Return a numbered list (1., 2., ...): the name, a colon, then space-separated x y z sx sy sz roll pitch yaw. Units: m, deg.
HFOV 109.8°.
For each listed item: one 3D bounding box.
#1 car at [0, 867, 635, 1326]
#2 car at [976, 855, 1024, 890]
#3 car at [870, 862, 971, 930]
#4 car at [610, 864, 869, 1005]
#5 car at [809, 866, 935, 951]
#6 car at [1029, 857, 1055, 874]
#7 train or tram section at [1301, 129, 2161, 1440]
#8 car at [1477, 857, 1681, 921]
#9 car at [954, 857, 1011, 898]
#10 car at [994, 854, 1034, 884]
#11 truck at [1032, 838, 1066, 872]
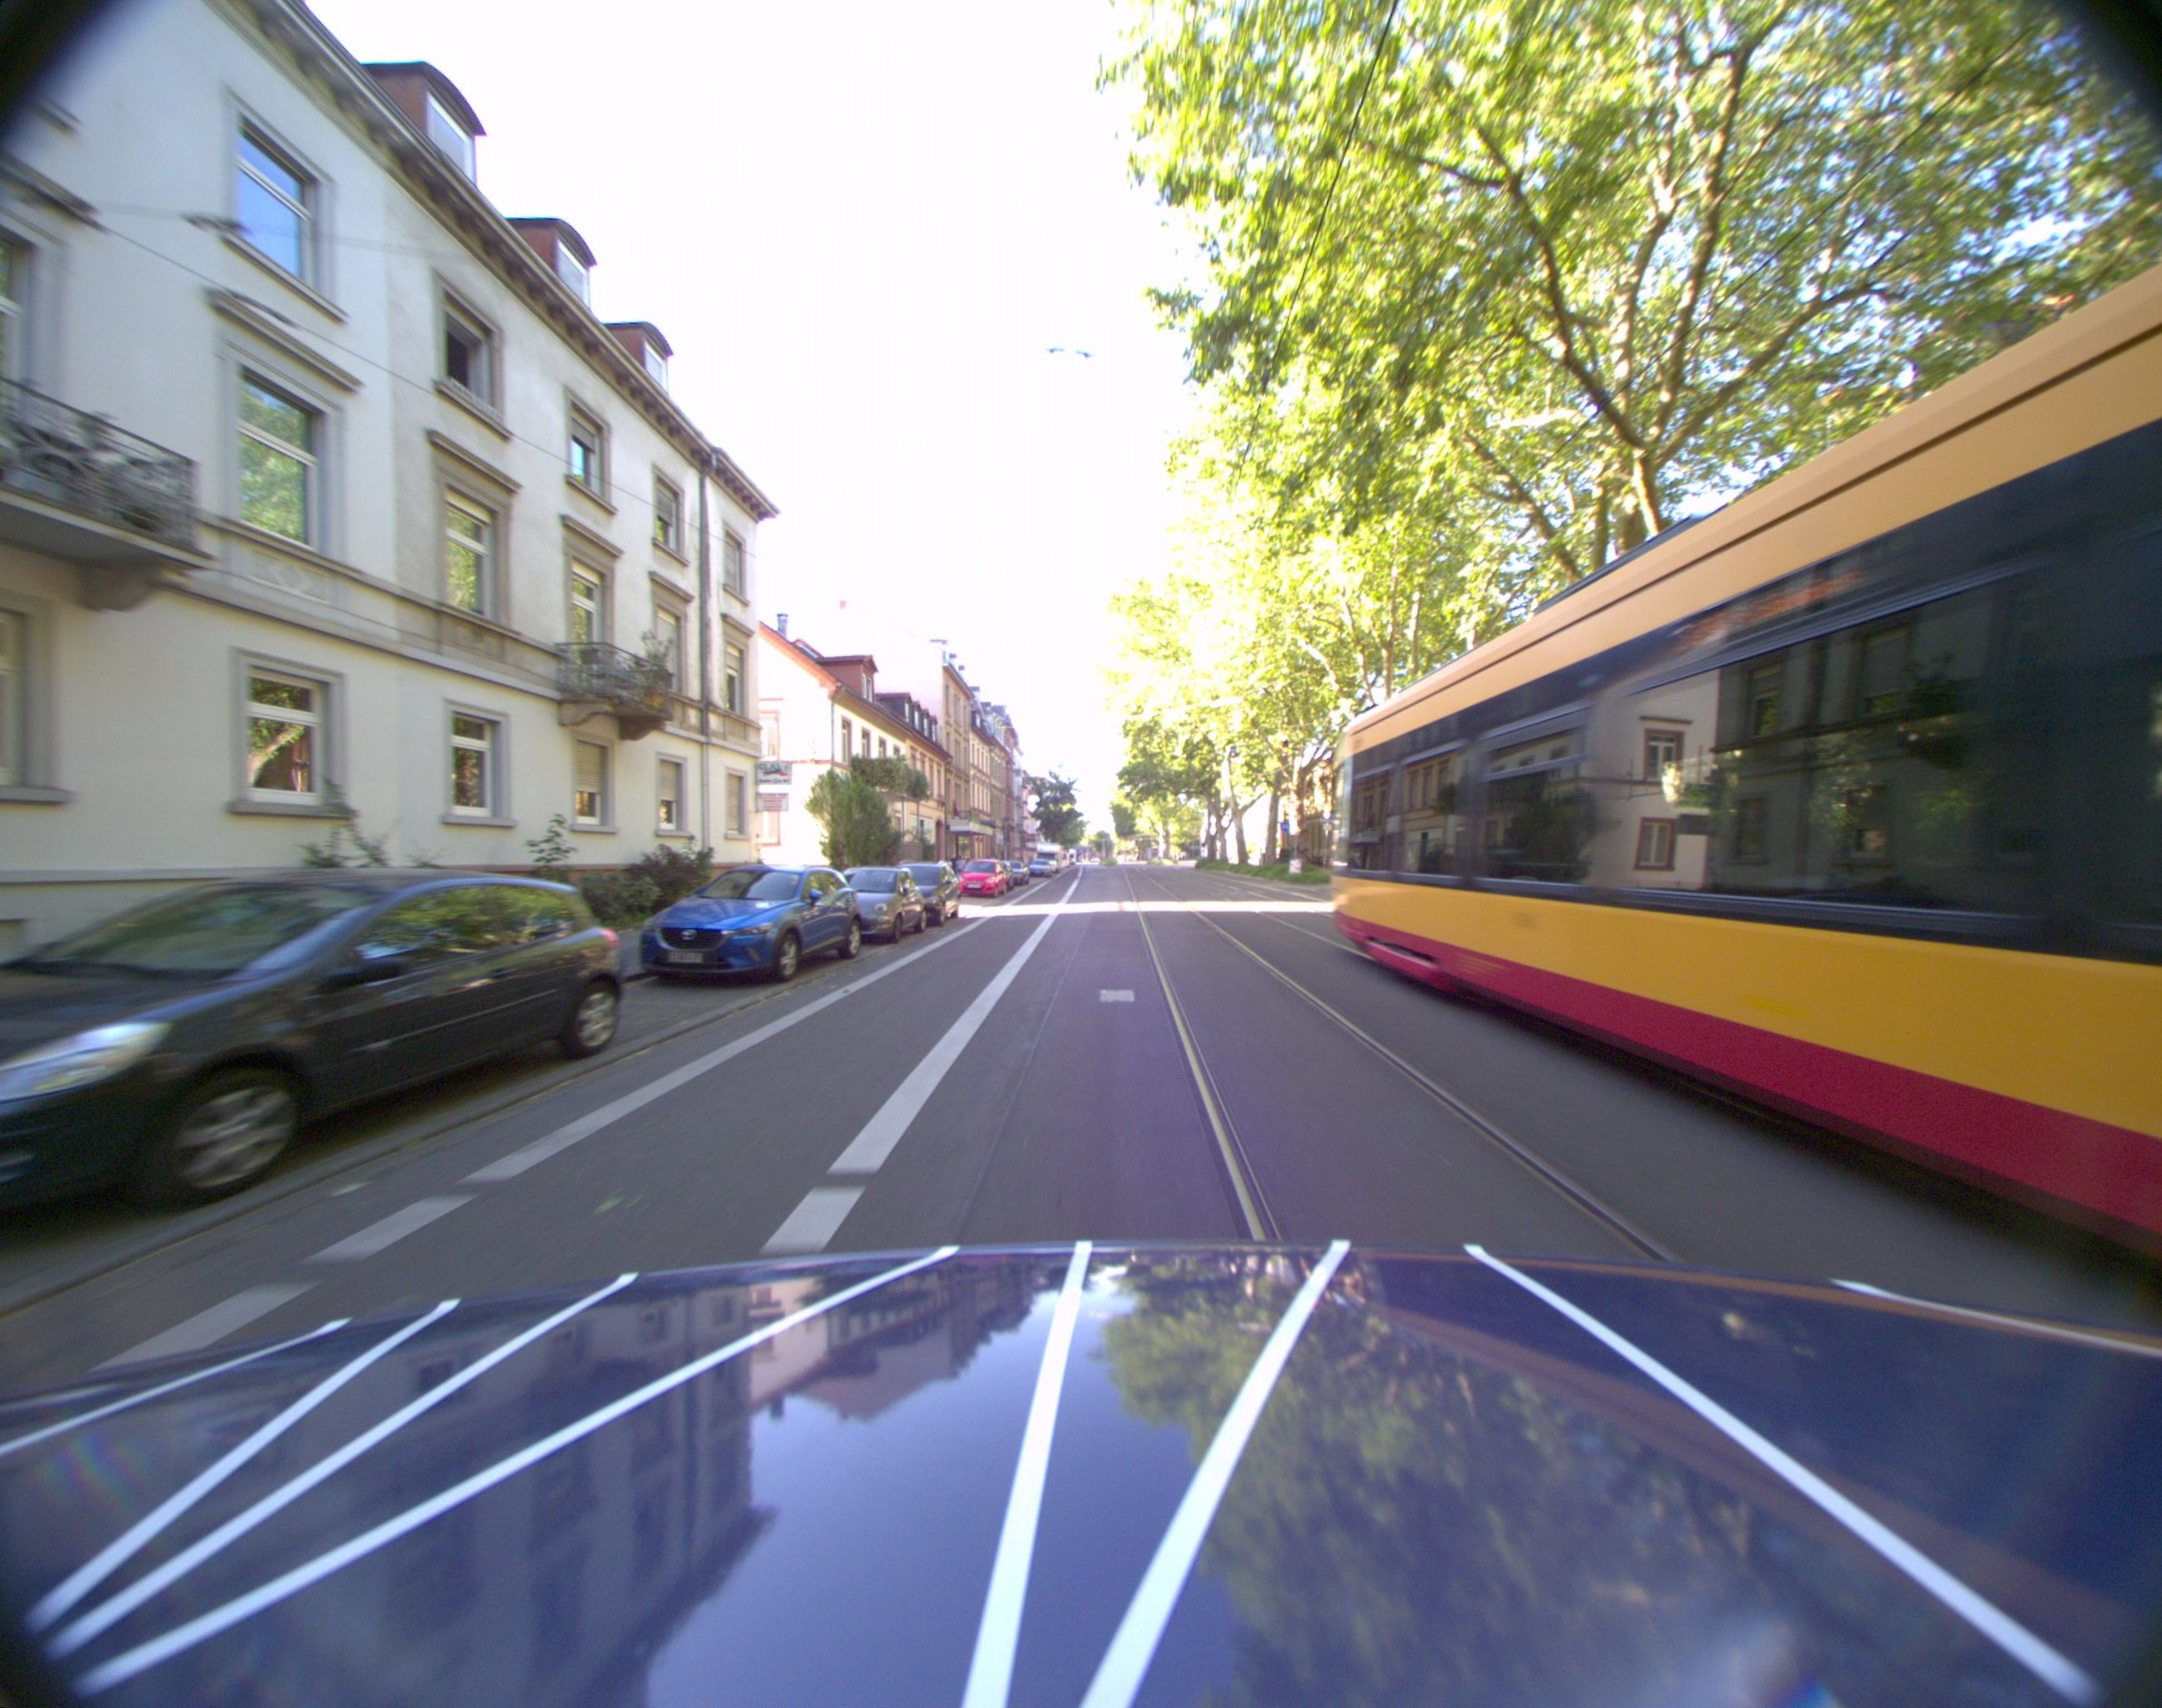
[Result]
1. car: -4.716 0.929 4.570 1.635 1.497 3.907 4 1 1
2. car: -3.851 0.860 36.705 1.702 1.559 3.687 1 0 3
3. car: -4.132 1.021 20.144 1.729 1.559 3.687 1 0 3
4. car: -4.589 0.972 10.921 1.729 1.497 3.908 4 1 3
5. car: -4.208 1.033 15.797 1.542 1.497 3.359 1 0 3
6. car: -3.144 0.929 61.883 1.702 1.324 3.687 1 0 3
7. train or tram section: 4.605 -0.250 5.406 2.943 3.598 12.411 -2 1 3
8. car: 12.012 0.815 18.467 3.997 1.422 1.528 -1 1 -2
9. car: -4.003 0.923 31.538 1.702 1.559 3.687 1 0 3
10. car: -3.723 0.824 42.839 1.702 1.559 3.687 1 0 3
11. truck: -3.114 0.030 76.291 2.842 3.145 7.292 -2 1 1
